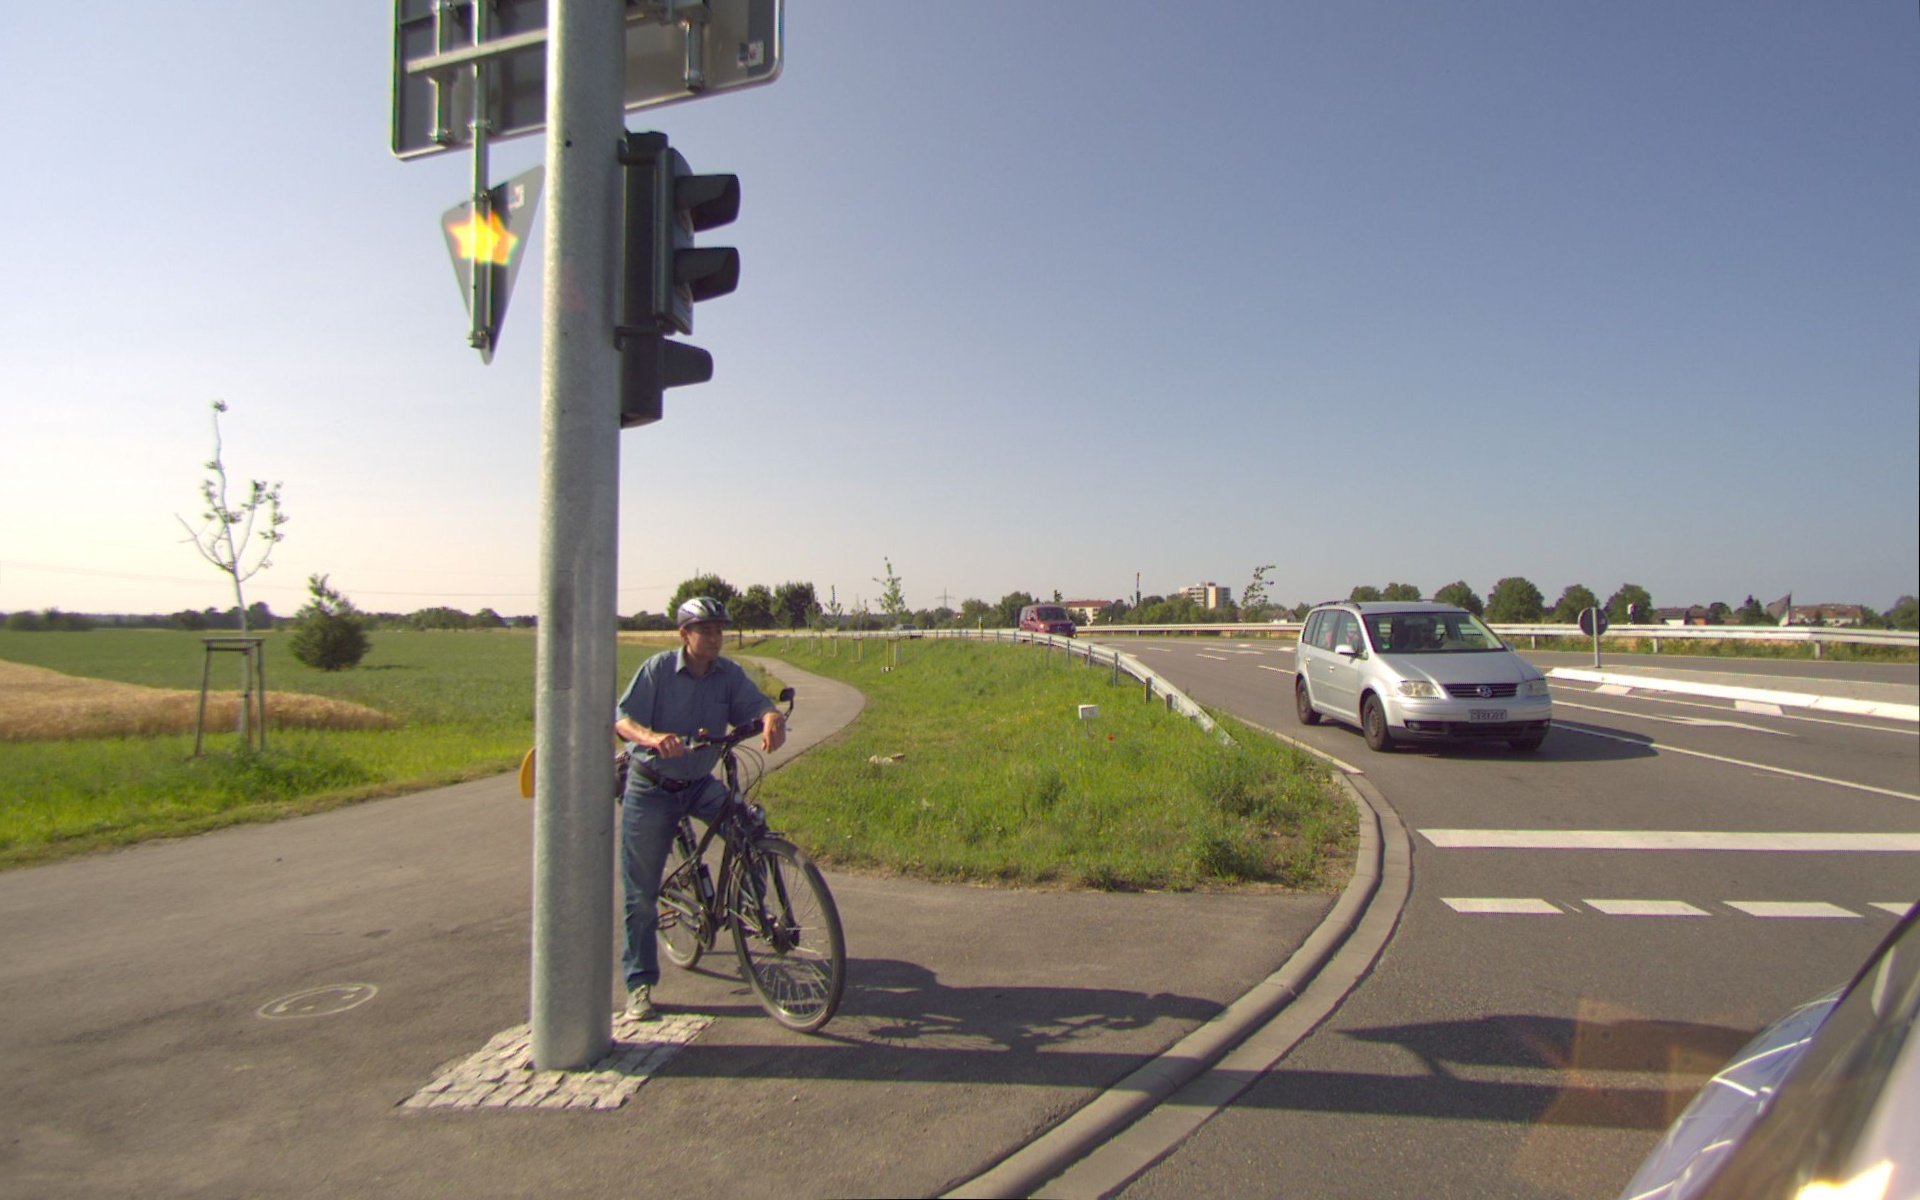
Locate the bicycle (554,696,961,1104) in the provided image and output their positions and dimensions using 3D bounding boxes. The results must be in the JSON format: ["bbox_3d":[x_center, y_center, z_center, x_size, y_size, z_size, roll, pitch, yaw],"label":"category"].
[{"bbox_3d":[-0.915,0.997,4.032,0.670,1.166,1.941,-1,-3,-41],"label":"bicycle"}]

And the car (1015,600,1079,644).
[{"bbox_3d":[3.877,0.999,45.735,1.658,1.861,4.705,0,-1,-11],"label":"car"}]

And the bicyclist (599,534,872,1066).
[{"bbox_3d":[-0.908,0.692,3.977,0.609,1.788,0.915,-1,-4,-41],"label":"bicyclist"}]

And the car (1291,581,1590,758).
[{"bbox_3d":[5.406,0.700,12.064,1.725,1.716,4.210,-1,-1,4],"label":"car"}]
